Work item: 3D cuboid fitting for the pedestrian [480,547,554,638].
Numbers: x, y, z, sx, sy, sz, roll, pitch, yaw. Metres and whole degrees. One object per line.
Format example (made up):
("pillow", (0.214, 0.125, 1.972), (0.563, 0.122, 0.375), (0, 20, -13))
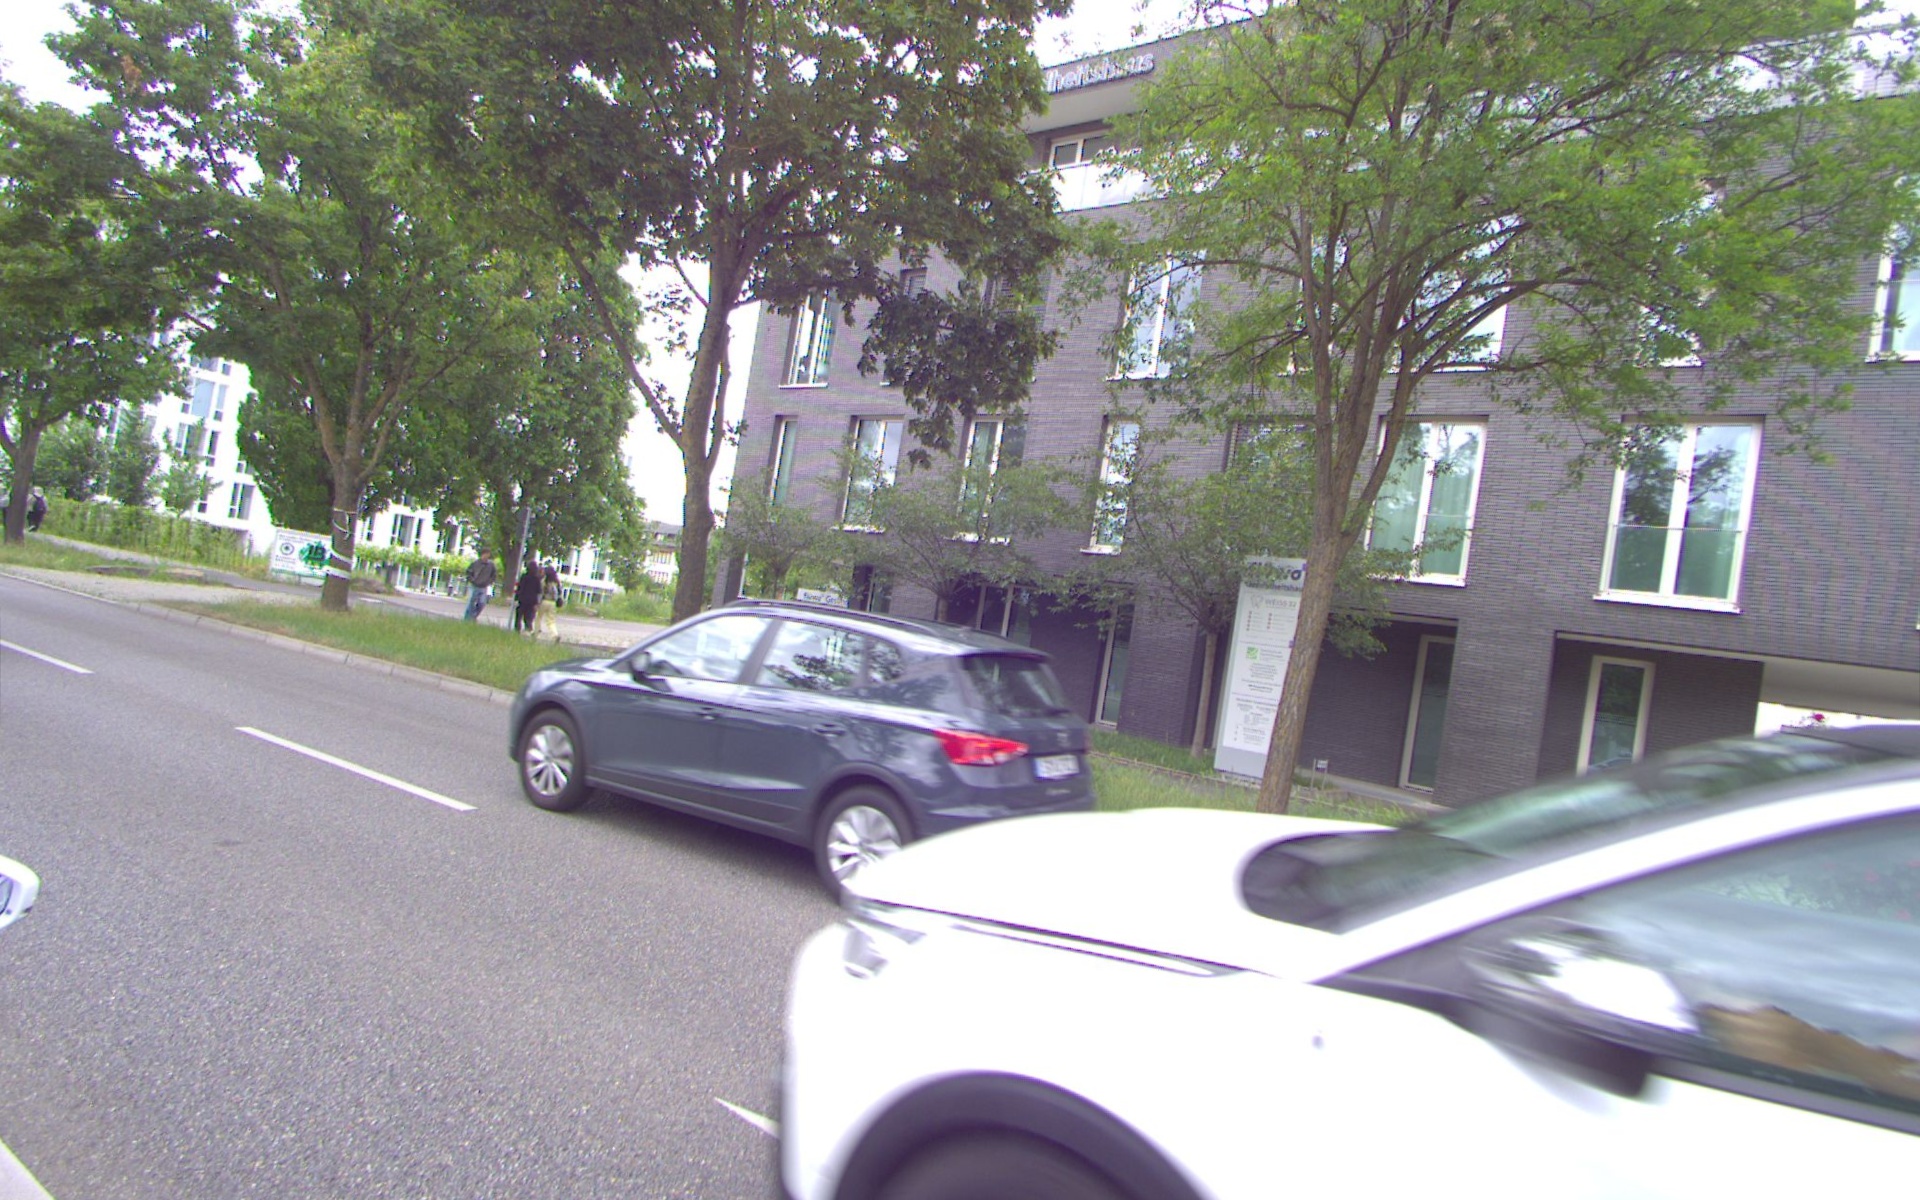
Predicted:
("pedestrian", (-9.048, -0.150, 20.542), (1.043, 1.679, 0.796), (7, -1, 38))

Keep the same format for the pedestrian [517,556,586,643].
("pedestrian", (-8.595, -0.009, 21.168), (0.937, 1.679, 0.779), (7, -1, 38))

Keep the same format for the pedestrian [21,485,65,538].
("pedestrian", (-32.467, -3.132, 35.612), (0.868, 1.705, 0.768), (6, -1, 31))

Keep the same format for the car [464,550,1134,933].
("car", (-1.118, 0.692, 6.424), (3.933, 1.530, 1.661), (6, -2, 30))

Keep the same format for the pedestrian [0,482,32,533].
("pedestrian", (-32.833, -3.212, 34.811), (0.868, 1.614, 0.701), (6, -1, 31))

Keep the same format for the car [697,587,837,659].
("car", (-6.105, 0.717, 31.689), (4.080, 1.665, 1.759), (7, -2, 32))

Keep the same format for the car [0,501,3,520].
("car", (-10.800, -0.442, 9.432), (3.613, 1.485, 1.609), (7, -2, 31))

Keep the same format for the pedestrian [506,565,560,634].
("pedestrian", (-10.516, 0.003, 24.810), (0.821, 1.575, 0.875), (8, -1, -8))

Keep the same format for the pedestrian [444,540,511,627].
("pedestrian", (-11.422, -0.377, 23.840), (0.946, 1.889, 0.978), (8, -1, -8))

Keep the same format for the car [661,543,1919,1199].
("car", (1.735, 0.986, 1.644), (4.242, 1.615, 1.858), (7, -1, 32))
